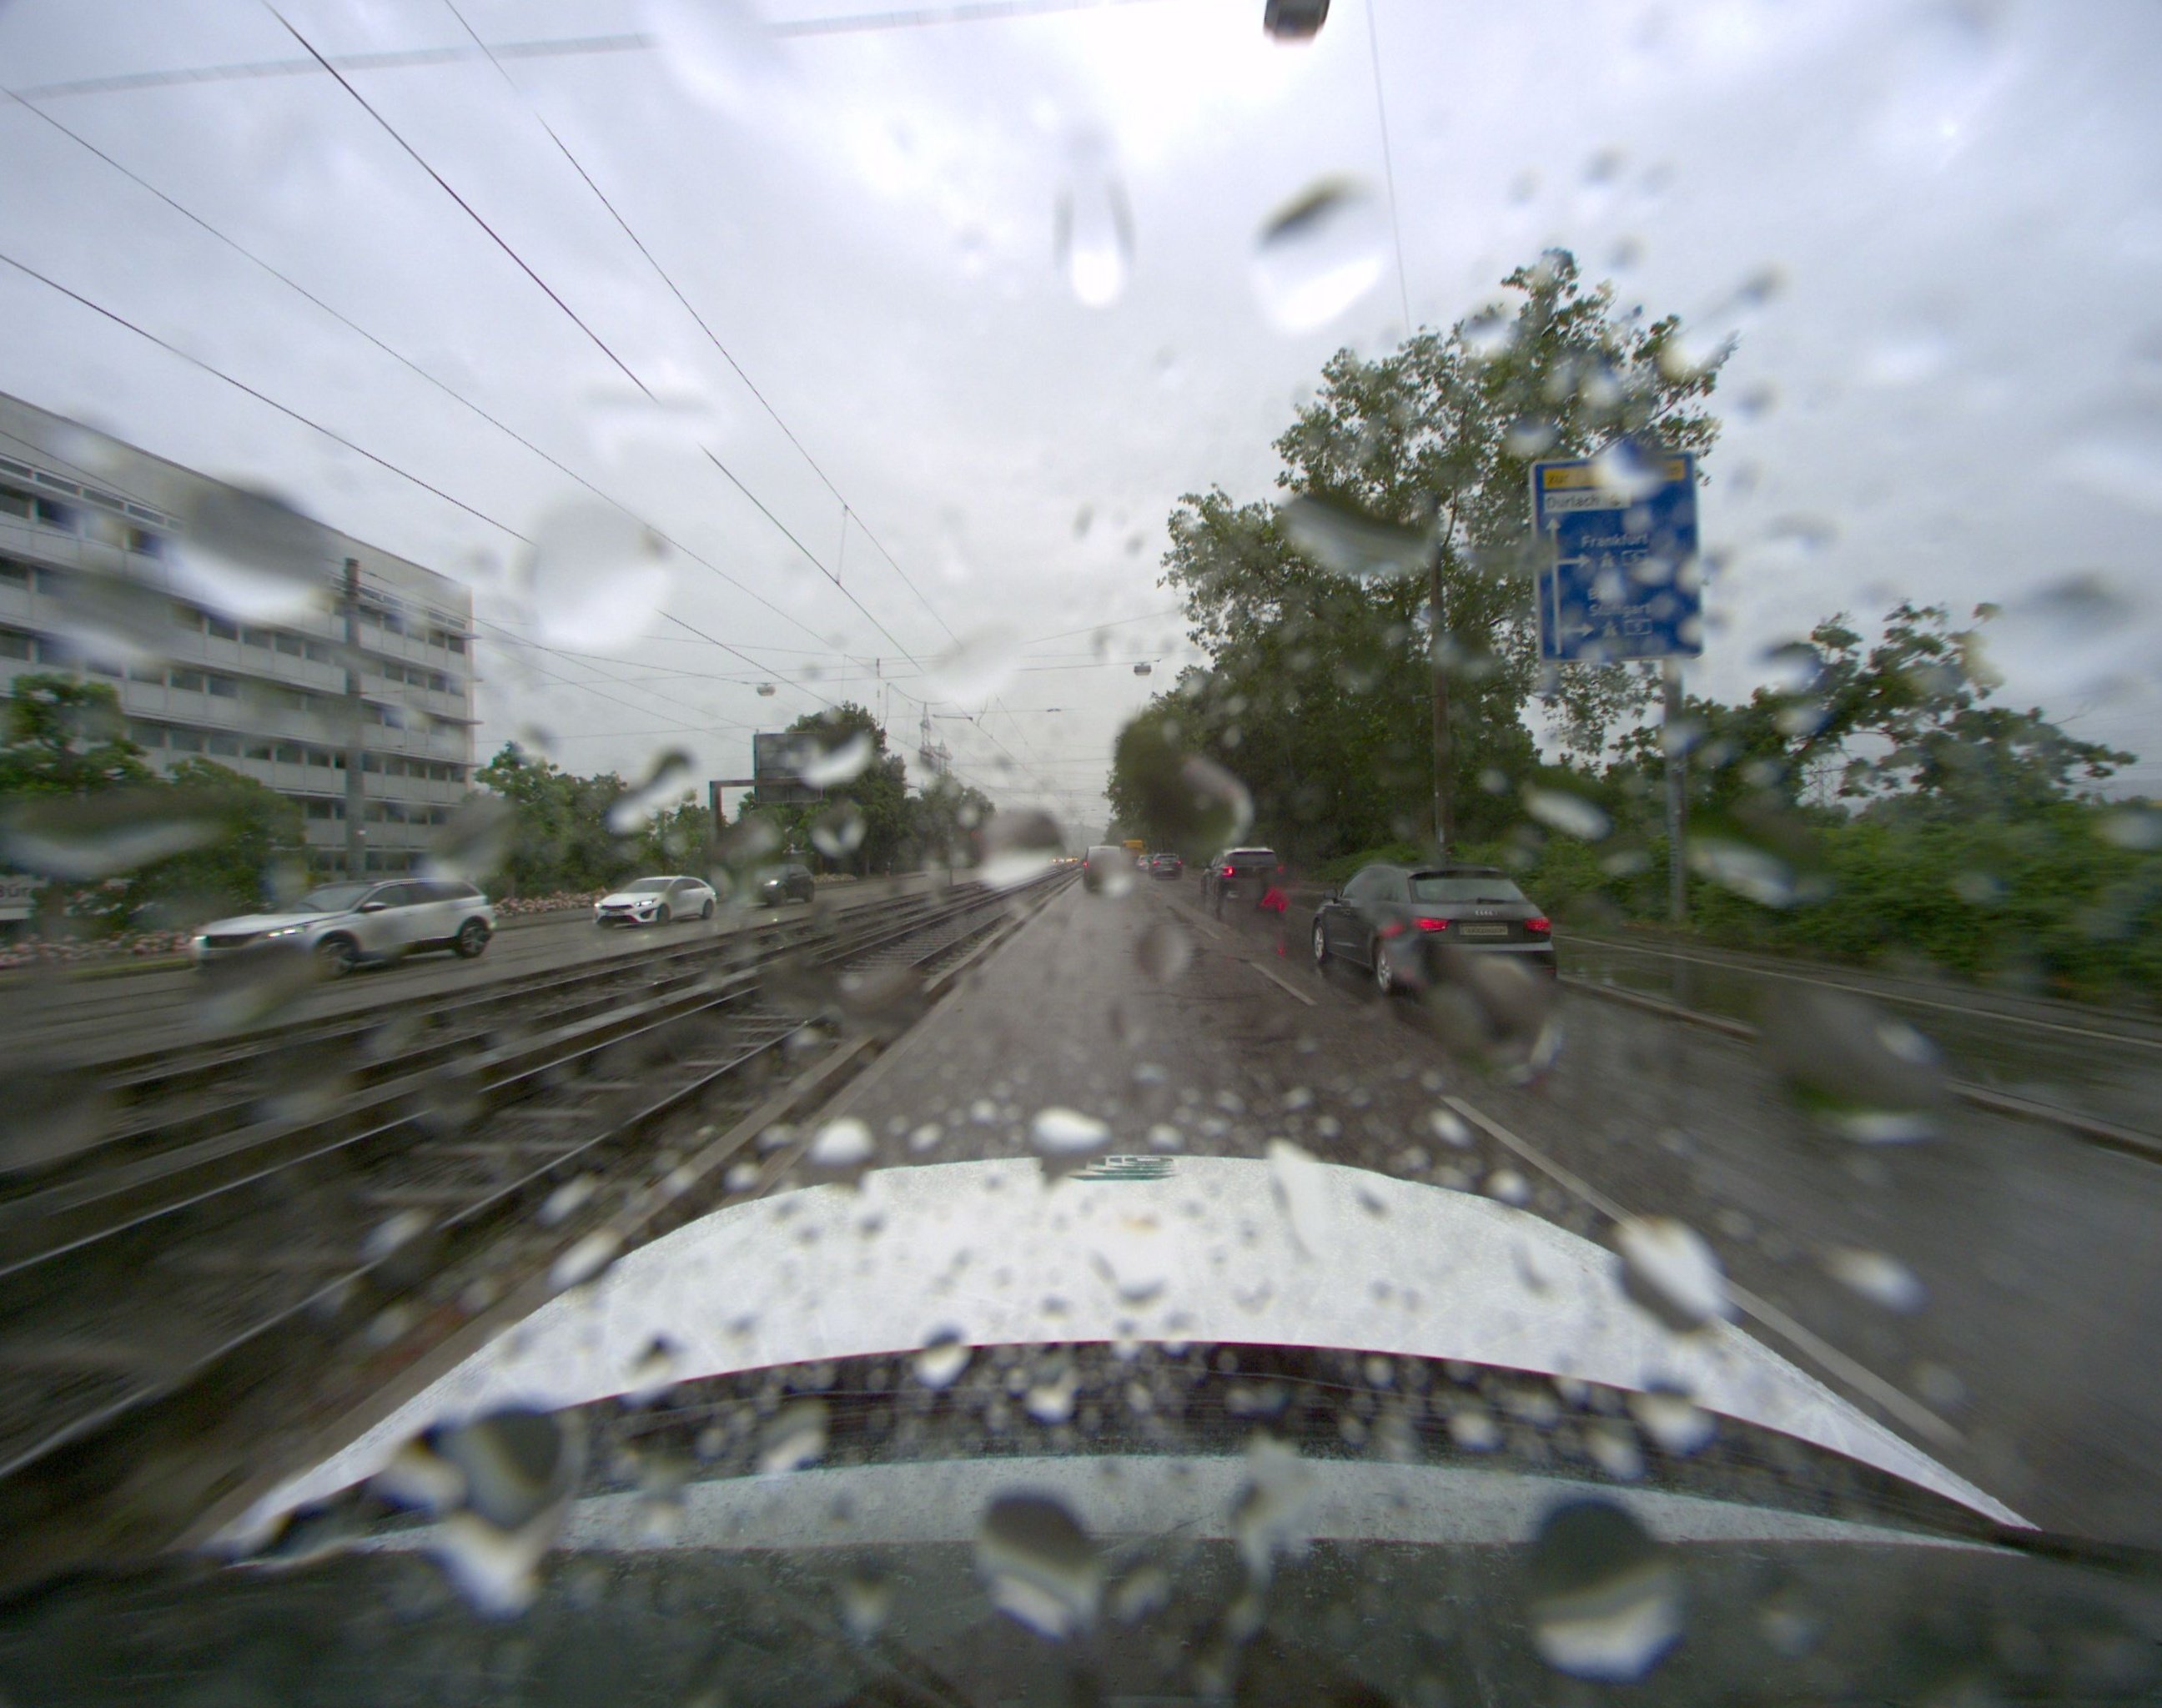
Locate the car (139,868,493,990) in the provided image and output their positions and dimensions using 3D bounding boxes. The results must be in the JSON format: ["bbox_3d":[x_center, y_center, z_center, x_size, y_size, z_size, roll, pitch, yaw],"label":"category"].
[{"bbox_3d":[-13.088,1.165,14.476,1.765,1.682,4.690,-2,0,1],"label":"car"}]

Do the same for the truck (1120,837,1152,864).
[{"bbox_3d":[5.833,-0.355,87.678,3.102,2.773,6.331,-1,0,1],"label":"truck"}]

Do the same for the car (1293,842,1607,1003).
[{"bbox_3d":[4.034,0.622,9.736,1.961,1.528,3.990,0,1,0],"label":"car"}]

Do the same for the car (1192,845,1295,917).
[{"bbox_3d":[4.231,0.618,21.990,1.893,1.716,4.726,0,1,0],"label":"car"}]

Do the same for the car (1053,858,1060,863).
[{"bbox_3d":[-6.552,1.715,219.558,1.650,1.486,4.016,-1,0,3],"label":"car"}]

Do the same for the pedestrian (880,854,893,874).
[{"bbox_3d":[-17.959,0.925,75.301,0.848,1.759,1.121,-2,0,1],"label":"pedestrian"}]

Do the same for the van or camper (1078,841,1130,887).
[{"bbox_3d":[0.900,0.369,33.829,1.988,1.784,3.999,0,1,-1],"label":"van or camper"}]

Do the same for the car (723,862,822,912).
[{"bbox_3d":[-12.439,1.279,33.249,1.986,1.721,4.884,-2,0,2],"label":"car"}]

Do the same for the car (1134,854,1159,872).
[{"bbox_3d":[5.270,0.704,65.803,1.811,1.414,3.780,0,1,2],"label":"car"}]

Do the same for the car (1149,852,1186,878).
[{"bbox_3d":[4.842,0.594,45.941,1.811,1.414,3.780,0,1,2],"label":"car"}]

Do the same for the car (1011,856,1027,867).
[{"bbox_3d":[-9.663,1.119,127.003,1.985,1.618,4.257,-2,0,3],"label":"car"}]

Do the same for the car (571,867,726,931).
[{"bbox_3d":[-12.857,1.272,24.648,1.986,1.583,4.767,-2,0,1],"label":"car"}]
